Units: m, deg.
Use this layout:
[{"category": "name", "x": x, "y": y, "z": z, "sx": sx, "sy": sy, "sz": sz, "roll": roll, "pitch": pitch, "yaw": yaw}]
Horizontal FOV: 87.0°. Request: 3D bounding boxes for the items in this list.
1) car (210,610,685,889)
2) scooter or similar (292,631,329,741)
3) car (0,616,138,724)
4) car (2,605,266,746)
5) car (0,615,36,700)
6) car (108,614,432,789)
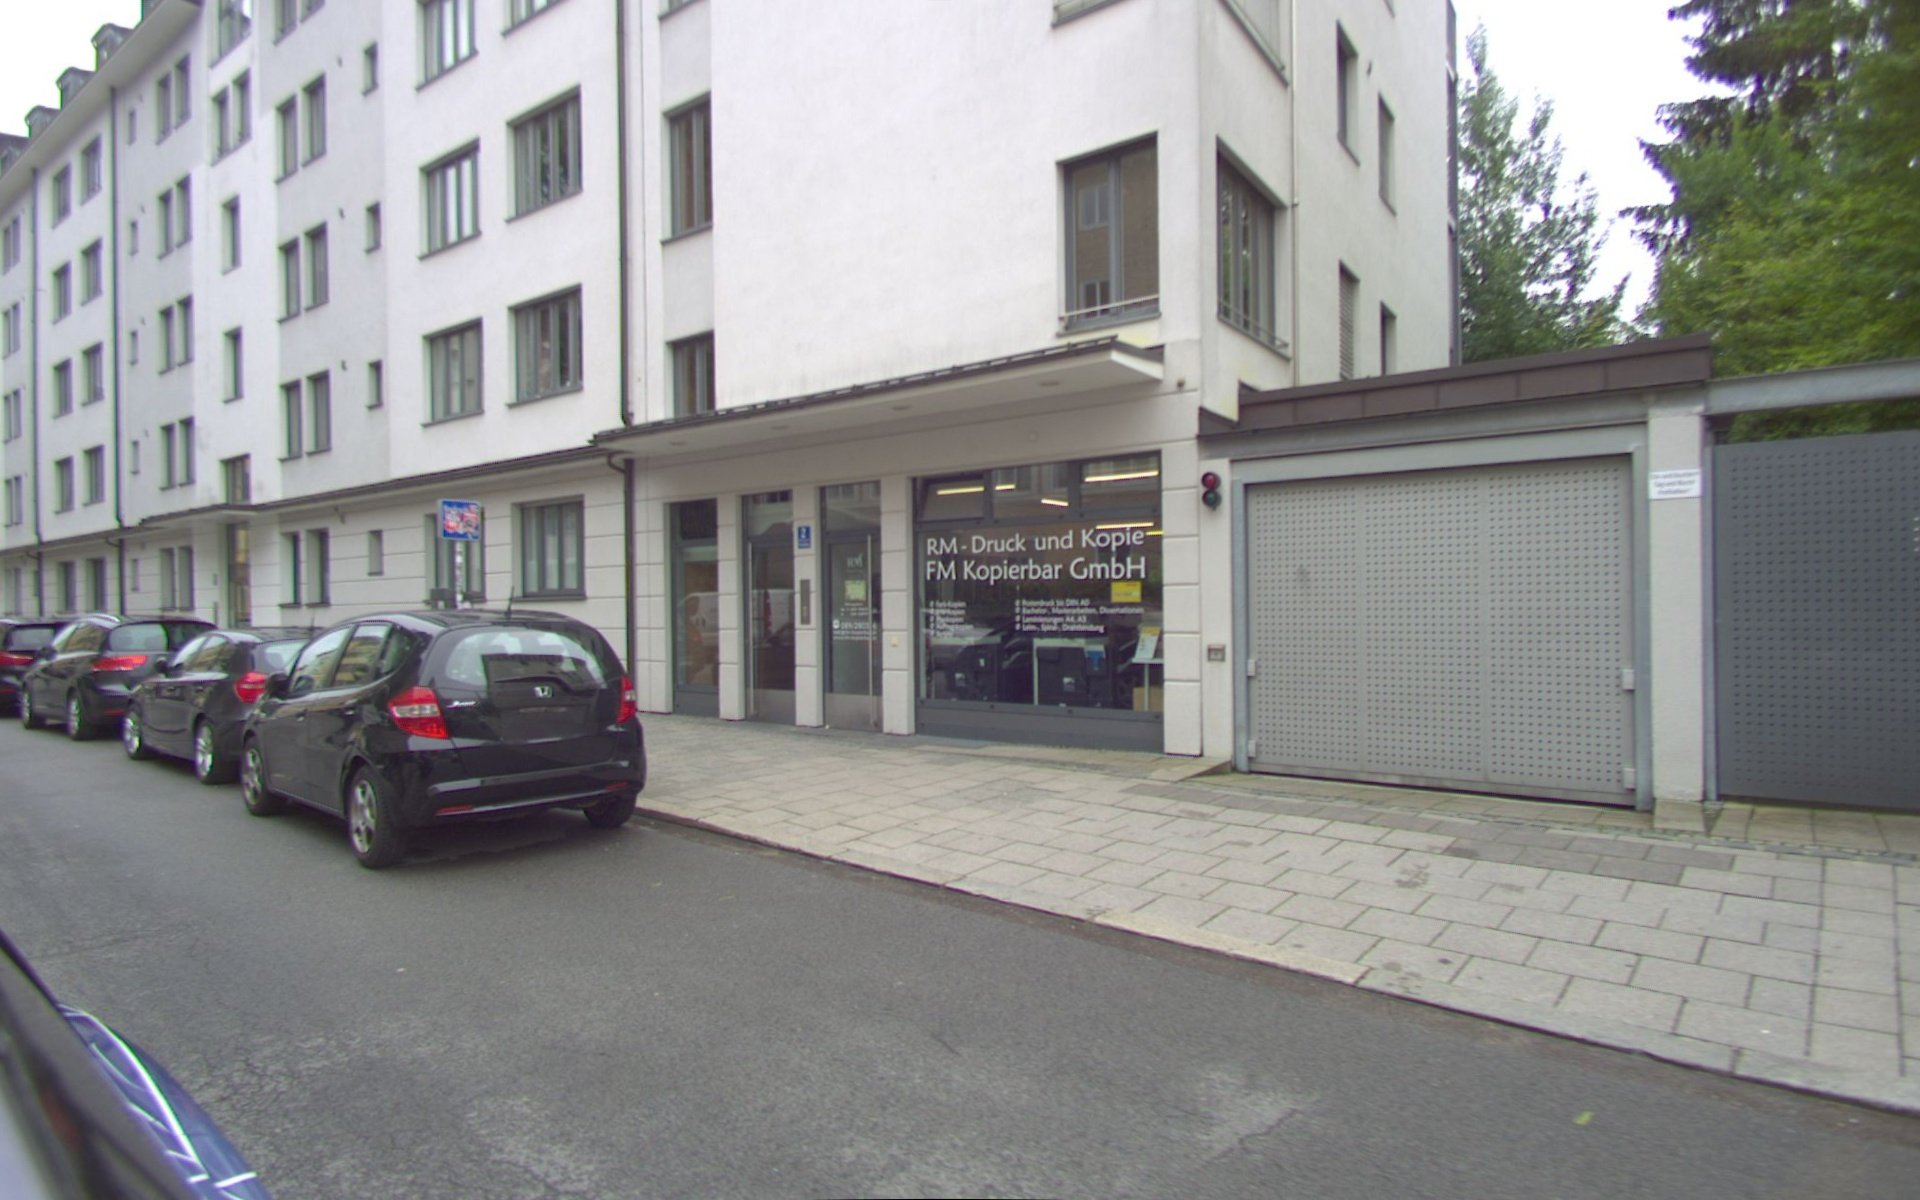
[{"category": "car", "x": -3.873, "y": 0.876, "z": 7.335, "sx": 4.014, "sy": 1.464, "sz": 1.732, "roll": -3, "pitch": -3, "yaw": 42}, {"category": "scooter or similar", "x": -8.463, "y": 1.093, "z": 13.202, "sx": 0.222, "sy": 1.366, "sz": 1.122, "roll": 0, "pitch": -2, "yaw": -24}, {"category": "car", "x": -16.222, "y": 1.169, "z": 17.485, "sx": 4.577, "sy": 1.671, "sz": 1.857, "roll": -2, "pitch": -3, "yaw": 34}, {"category": "car", "x": -11.441, "y": 0.982, "z": 13.949, "sx": 4.072, "sy": 1.671, "sz": 1.855, "roll": -2, "pitch": -3, "yaw": 36}, {"category": "car", "x": -20.834, "y": 1.188, "z": 20.764, "sx": 4.581, "sy": 1.671, "sz": 1.855, "roll": -2, "pitch": -3, "yaw": 36}, {"category": "car", "x": -7.227, "y": 0.936, "z": 10.462, "sx": 4.011, "sy": 1.464, "sz": 1.733, "roll": -3, "pitch": -3, "yaw": 40}]
